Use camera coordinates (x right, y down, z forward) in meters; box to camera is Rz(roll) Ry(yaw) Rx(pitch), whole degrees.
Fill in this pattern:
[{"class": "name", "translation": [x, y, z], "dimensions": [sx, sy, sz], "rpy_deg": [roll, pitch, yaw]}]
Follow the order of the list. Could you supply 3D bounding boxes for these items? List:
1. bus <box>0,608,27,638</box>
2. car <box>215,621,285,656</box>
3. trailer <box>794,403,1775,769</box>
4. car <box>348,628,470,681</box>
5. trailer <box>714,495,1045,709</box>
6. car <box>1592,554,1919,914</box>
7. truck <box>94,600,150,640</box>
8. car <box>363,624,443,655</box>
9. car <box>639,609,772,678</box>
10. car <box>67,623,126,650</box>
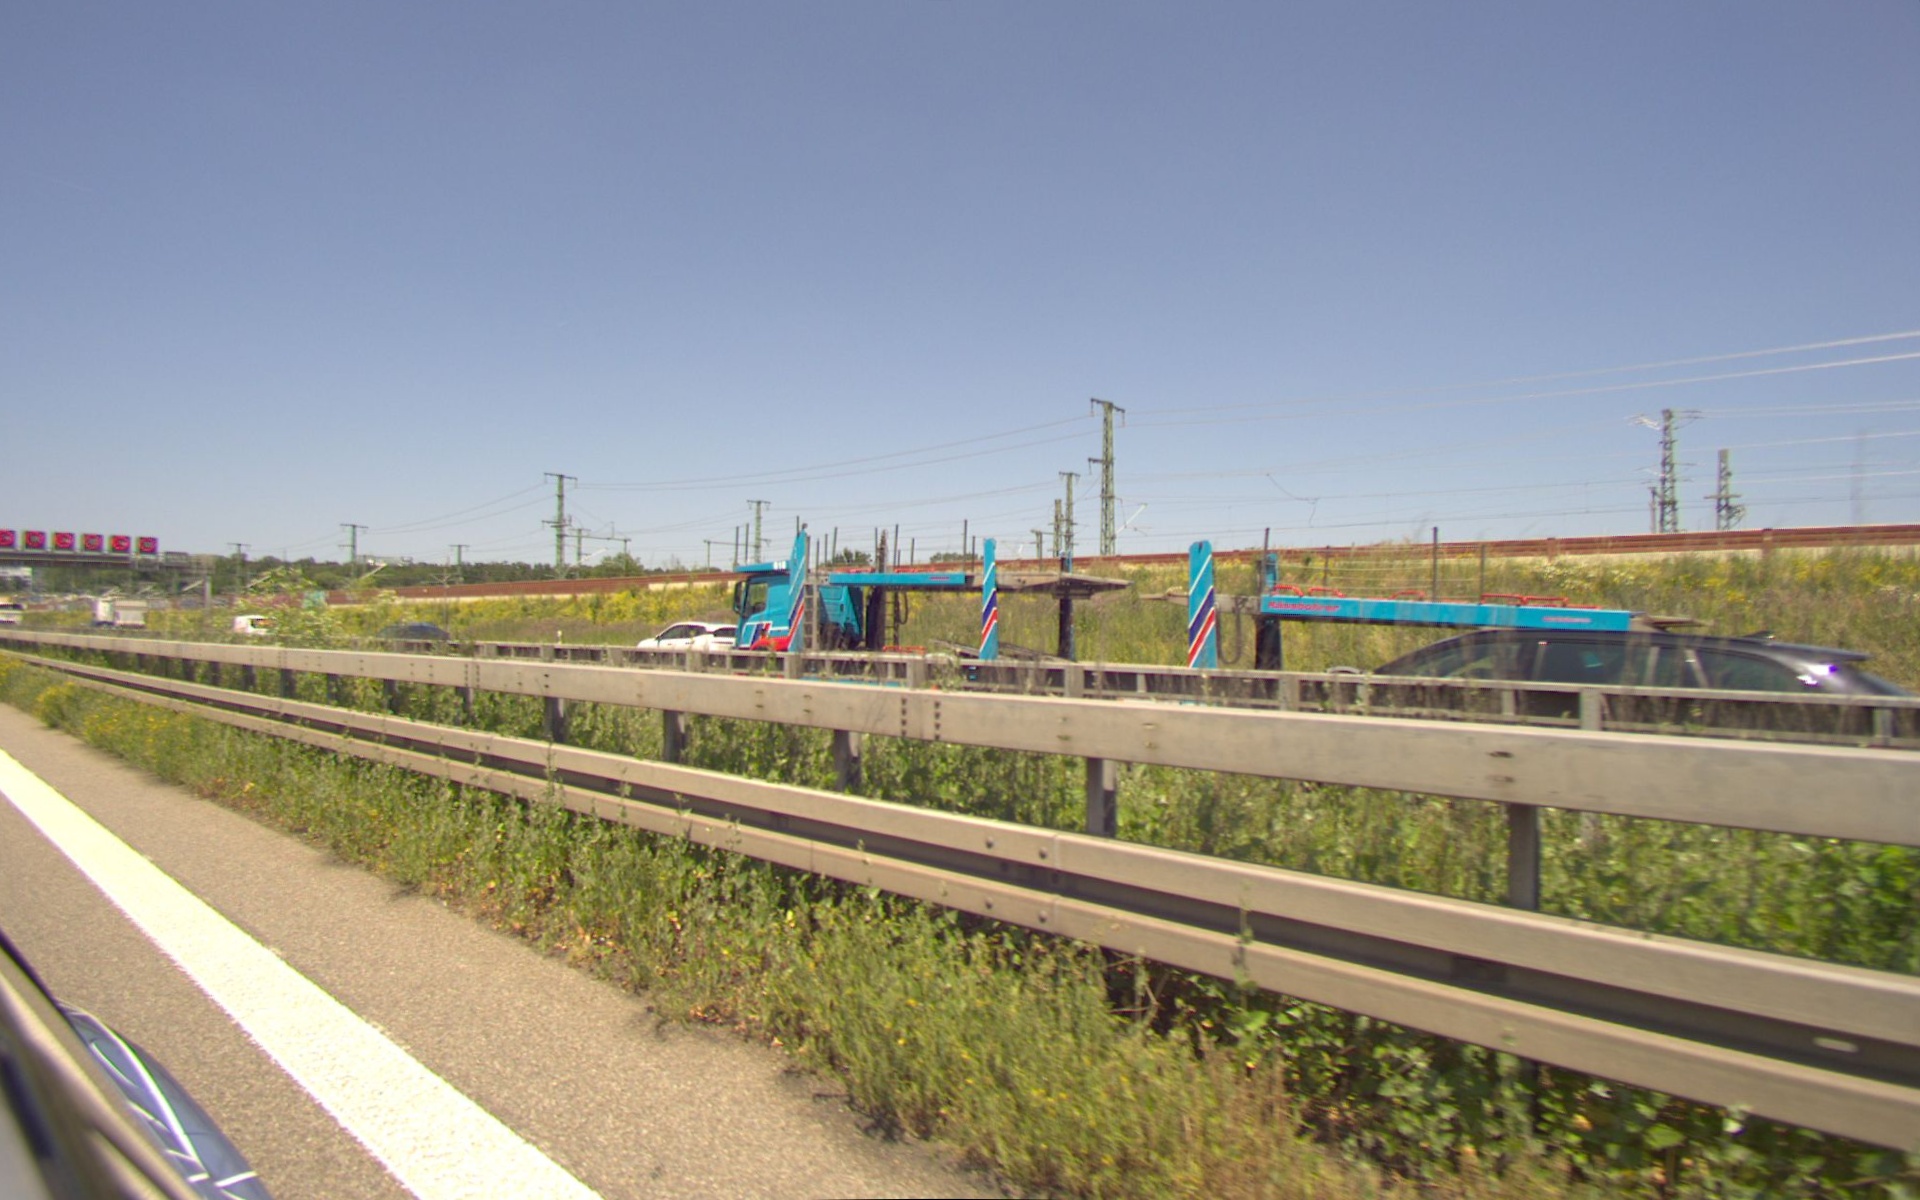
[{"class": "bus", "translation": [-120.204, 2.927, 127.414], "dimensions": [10.936, 3.673, 2.827], "rpy_deg": [-1, 0, 41]}, {"class": "car", "translation": [-38.019, 2.053, 54.142], "dimensions": [5.194, 1.814, 1.900], "rpy_deg": [-1, -3, 42]}, {"class": "trailer", "translation": [3.500, -0.015, 17.181], "dimensions": [15.969, 3.897, 3.019], "rpy_deg": [-1, -2, 41]}, {"class": "car", "translation": [-16.403, 1.568, 30.047], "dimensions": [4.132, 1.354, 1.867], "rpy_deg": [1, -2, 42]}, {"class": "trailer", "translation": [-1.956, 0.110, 21.980], "dimensions": [7.199, 3.897, 3.019], "rpy_deg": [-1, -2, 41]}, {"class": "car", "translation": [6.027, 0.703, 5.622], "dimensions": [3.999, 1.863, 1.972], "rpy_deg": [-1, -2, 42]}, {"class": "truck", "translation": [-78.388, 1.880, 94.589], "dimensions": [7.777, 3.493, 2.827], "rpy_deg": [-1, 0, 42]}, {"class": "car", "translation": [-26.828, 1.879, 48.683], "dimensions": [4.582, 1.428, 1.900], "rpy_deg": [-1, -3, 42]}, {"class": "car", "translation": [-8.296, 1.365, 32.809], "dimensions": [4.494, 2.029, 1.972], "rpy_deg": [1, -2, 42]}, {"class": "car", "translation": [-53.428, 2.255, 62.609], "dimensions": [5.392, 1.623, 1.900], "rpy_deg": [-1, -3, 40]}]
